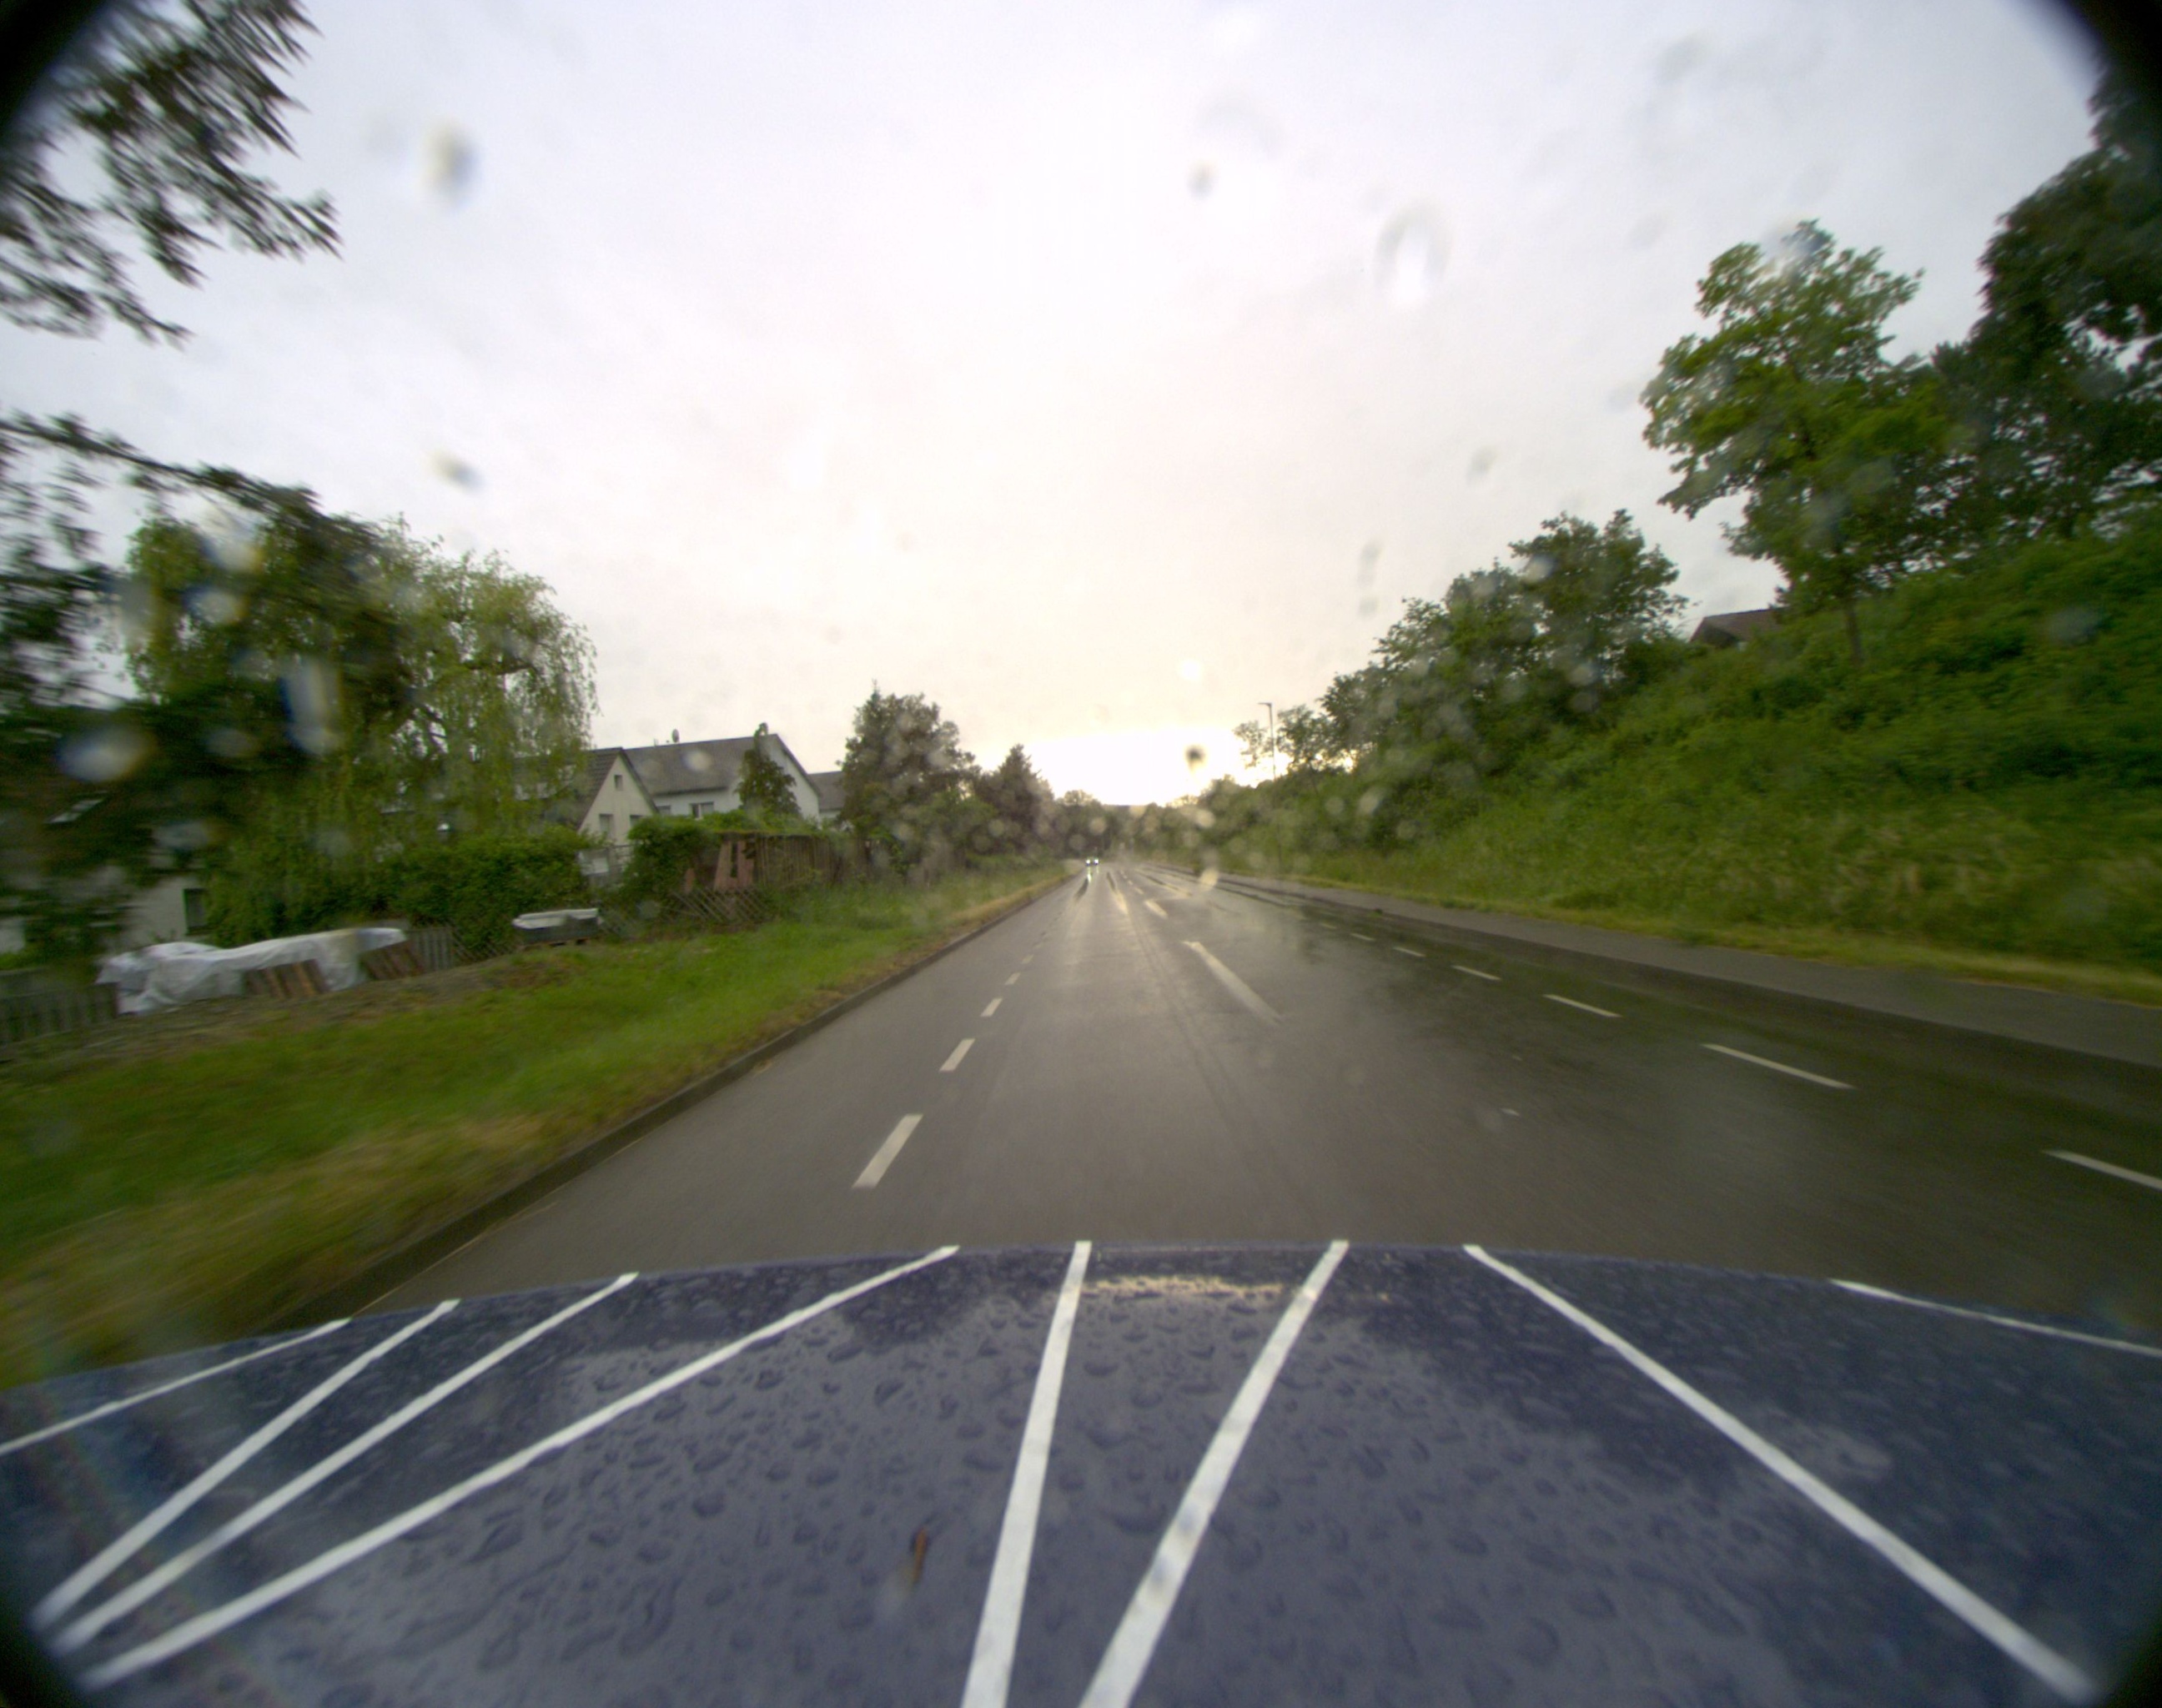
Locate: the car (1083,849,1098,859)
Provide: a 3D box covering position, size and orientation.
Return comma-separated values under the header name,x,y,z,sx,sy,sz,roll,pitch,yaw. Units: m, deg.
name,x,y,z,sx,sy,sz,roll,pitch,yaw
car,1.569,0.043,127.769,1.880,1.596,3.998,-2,0,-6
